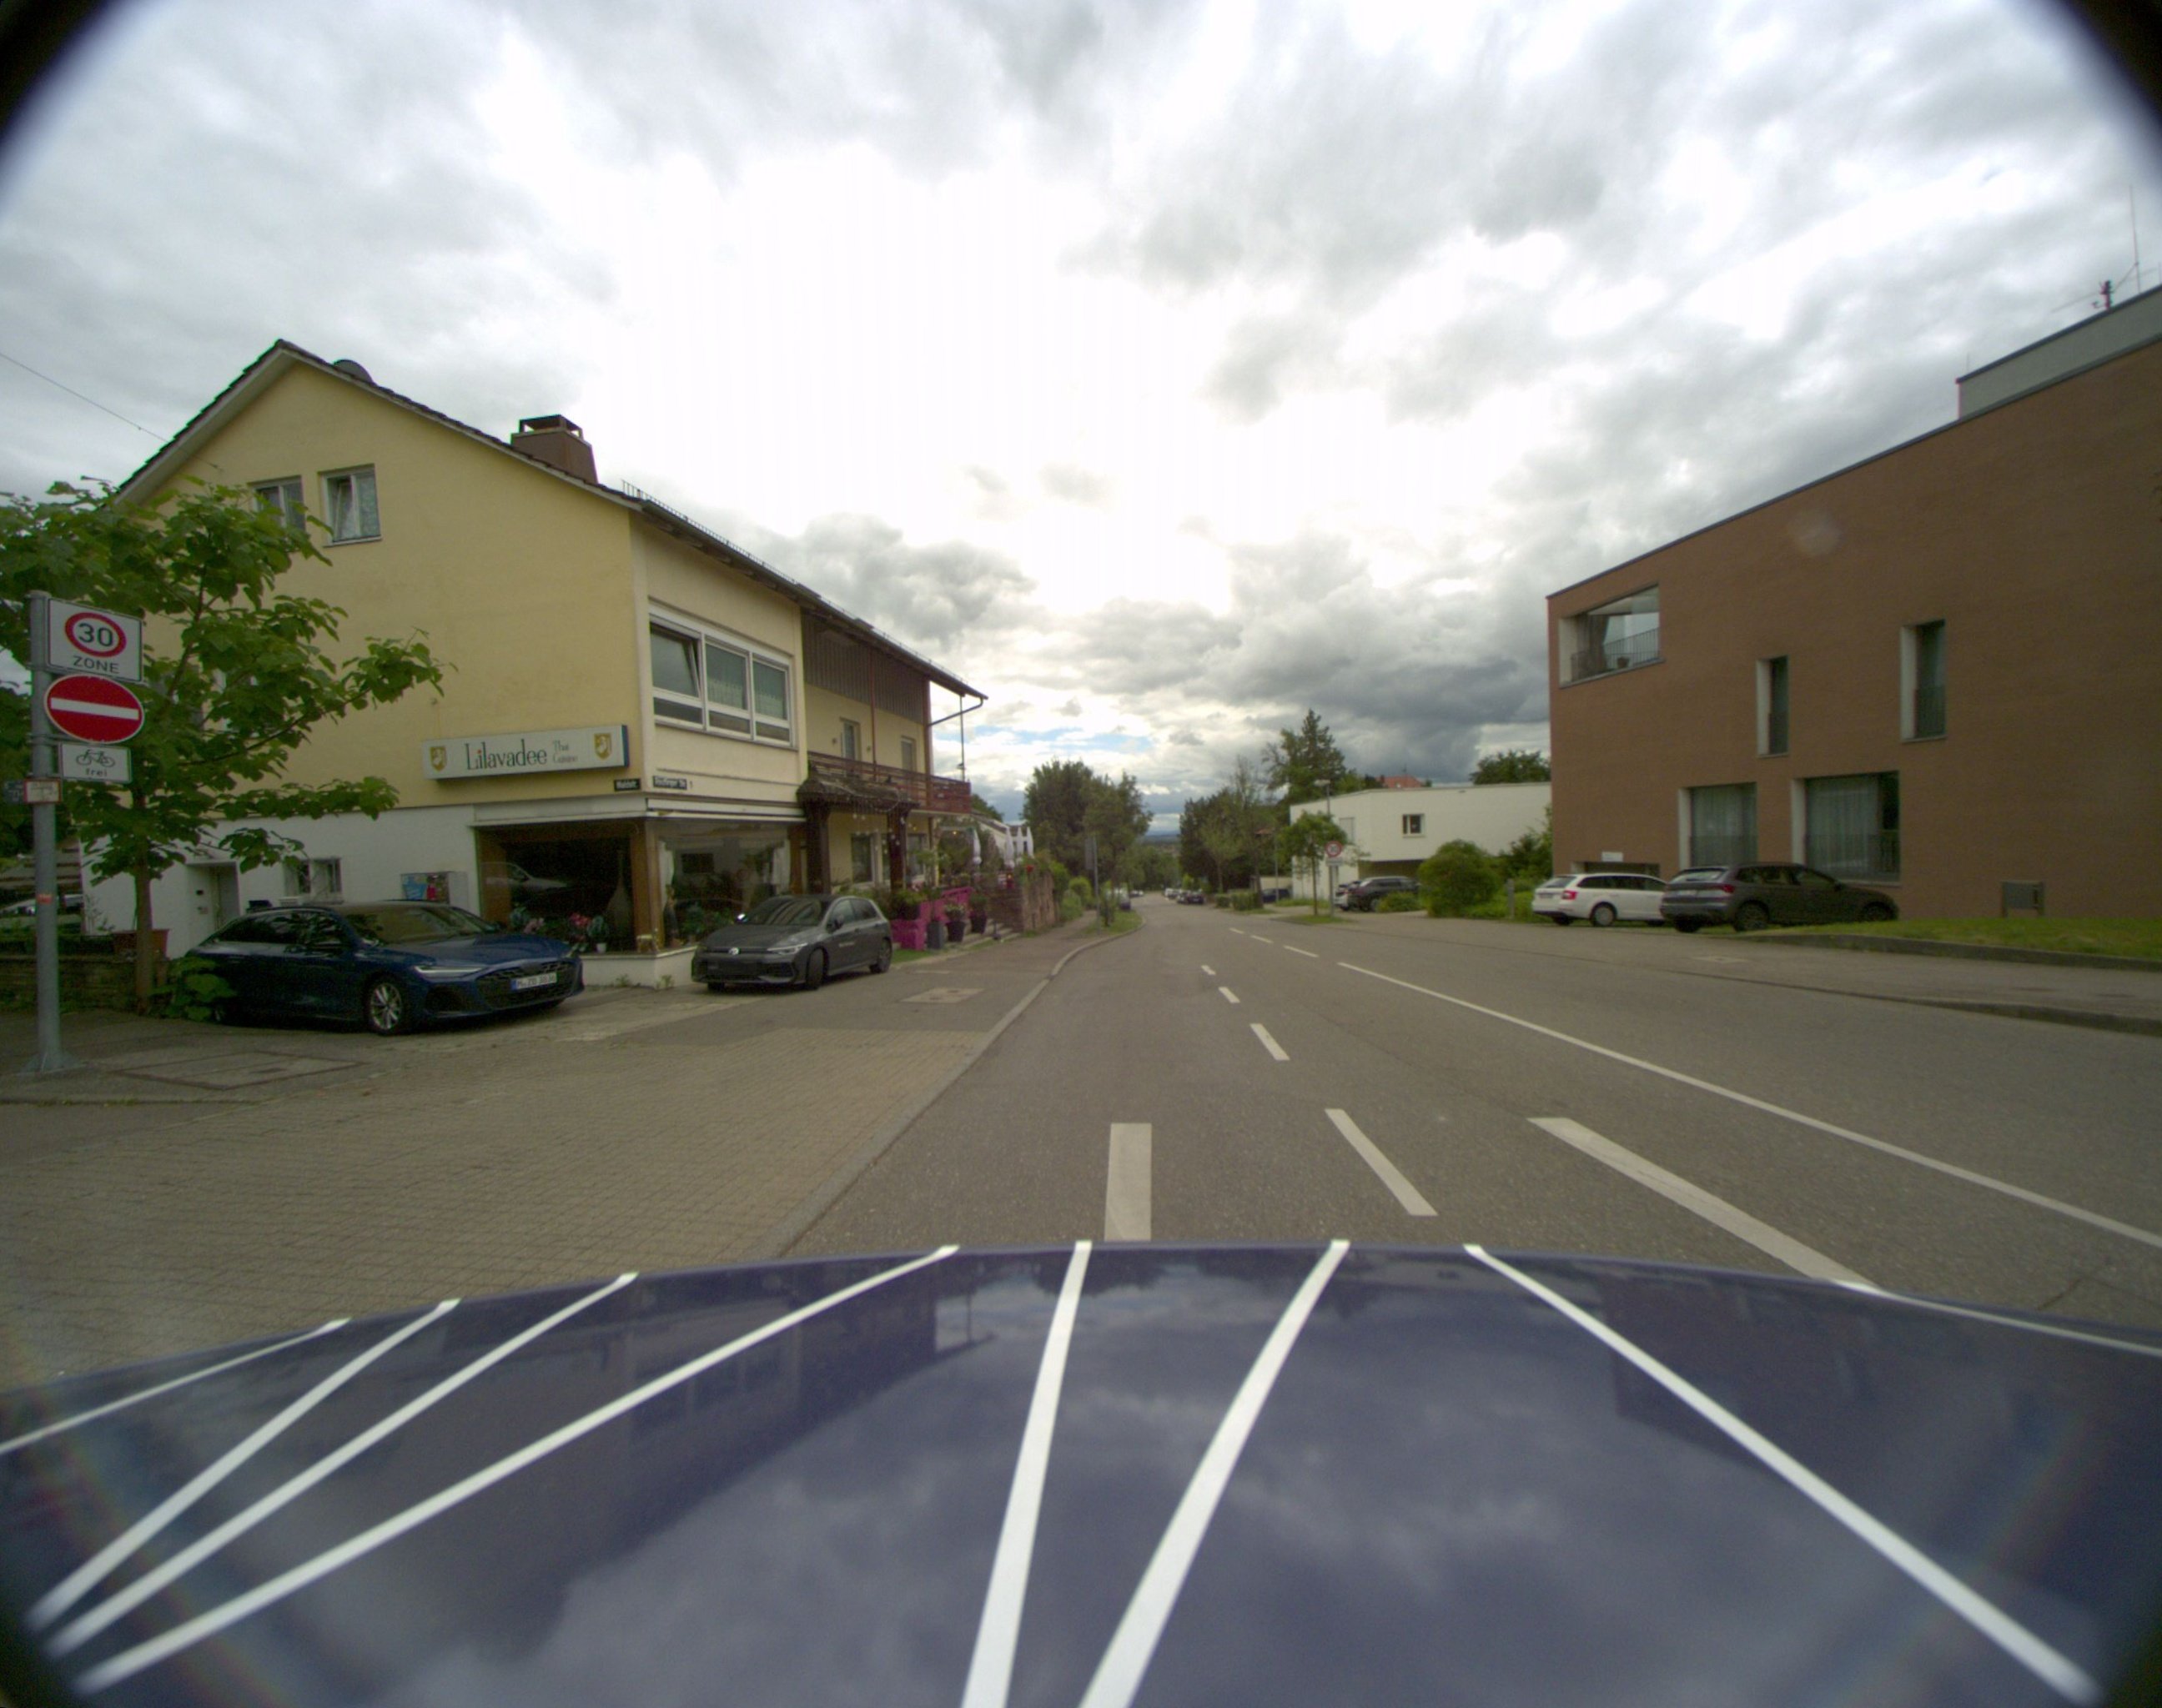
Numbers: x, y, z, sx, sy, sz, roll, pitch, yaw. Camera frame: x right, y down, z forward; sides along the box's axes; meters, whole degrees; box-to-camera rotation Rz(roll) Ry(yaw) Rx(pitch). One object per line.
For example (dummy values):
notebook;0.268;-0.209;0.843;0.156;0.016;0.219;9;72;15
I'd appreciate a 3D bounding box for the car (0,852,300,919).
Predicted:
car;-22.793;0.831;18.880;1.795;1.452;4.336;-2;-4;22

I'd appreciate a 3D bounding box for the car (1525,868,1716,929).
car;14.617;1.206;20.716;3.998;1.476;1.727;-1;-3;-3

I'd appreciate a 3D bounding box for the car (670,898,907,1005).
car;-4.542;1.481;12.630;1.796;1.452;4.332;-1;-4;8

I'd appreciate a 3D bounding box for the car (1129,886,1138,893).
car;12.669;8.594;183.375;1.883;1.412;4.369;-1;-1;1

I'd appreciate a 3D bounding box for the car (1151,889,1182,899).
car;13.326;6.174;118.157;4.356;1.412;1.889;-2;-1;37

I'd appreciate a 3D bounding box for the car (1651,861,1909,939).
car;14.915;0.976;16.349;3.998;1.476;1.727;-1;-3;-3

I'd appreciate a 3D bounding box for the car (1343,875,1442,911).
car;15.059;1.899;36.879;3.996;1.585;1.795;-2;-3;3

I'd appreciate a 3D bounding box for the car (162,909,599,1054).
car;-8.528;1.420;9.292;4.739;1.378;1.802;-2;-1;18

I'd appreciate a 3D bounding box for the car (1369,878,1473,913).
car;15.604;1.901;35.037;3.996;1.476;1.728;-2;-3;3

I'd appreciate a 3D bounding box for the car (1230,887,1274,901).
car;16.553;3.892;73.731;3.995;1.278;1.665;-2;-3;7

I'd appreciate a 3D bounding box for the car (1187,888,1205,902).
car;12.188;4.307;80.580;1.661;1.412;4.004;-2;-3;6

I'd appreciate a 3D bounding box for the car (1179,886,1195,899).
car;12.505;4.563;89.578;1.661;1.412;4.372;-2;-3;6
